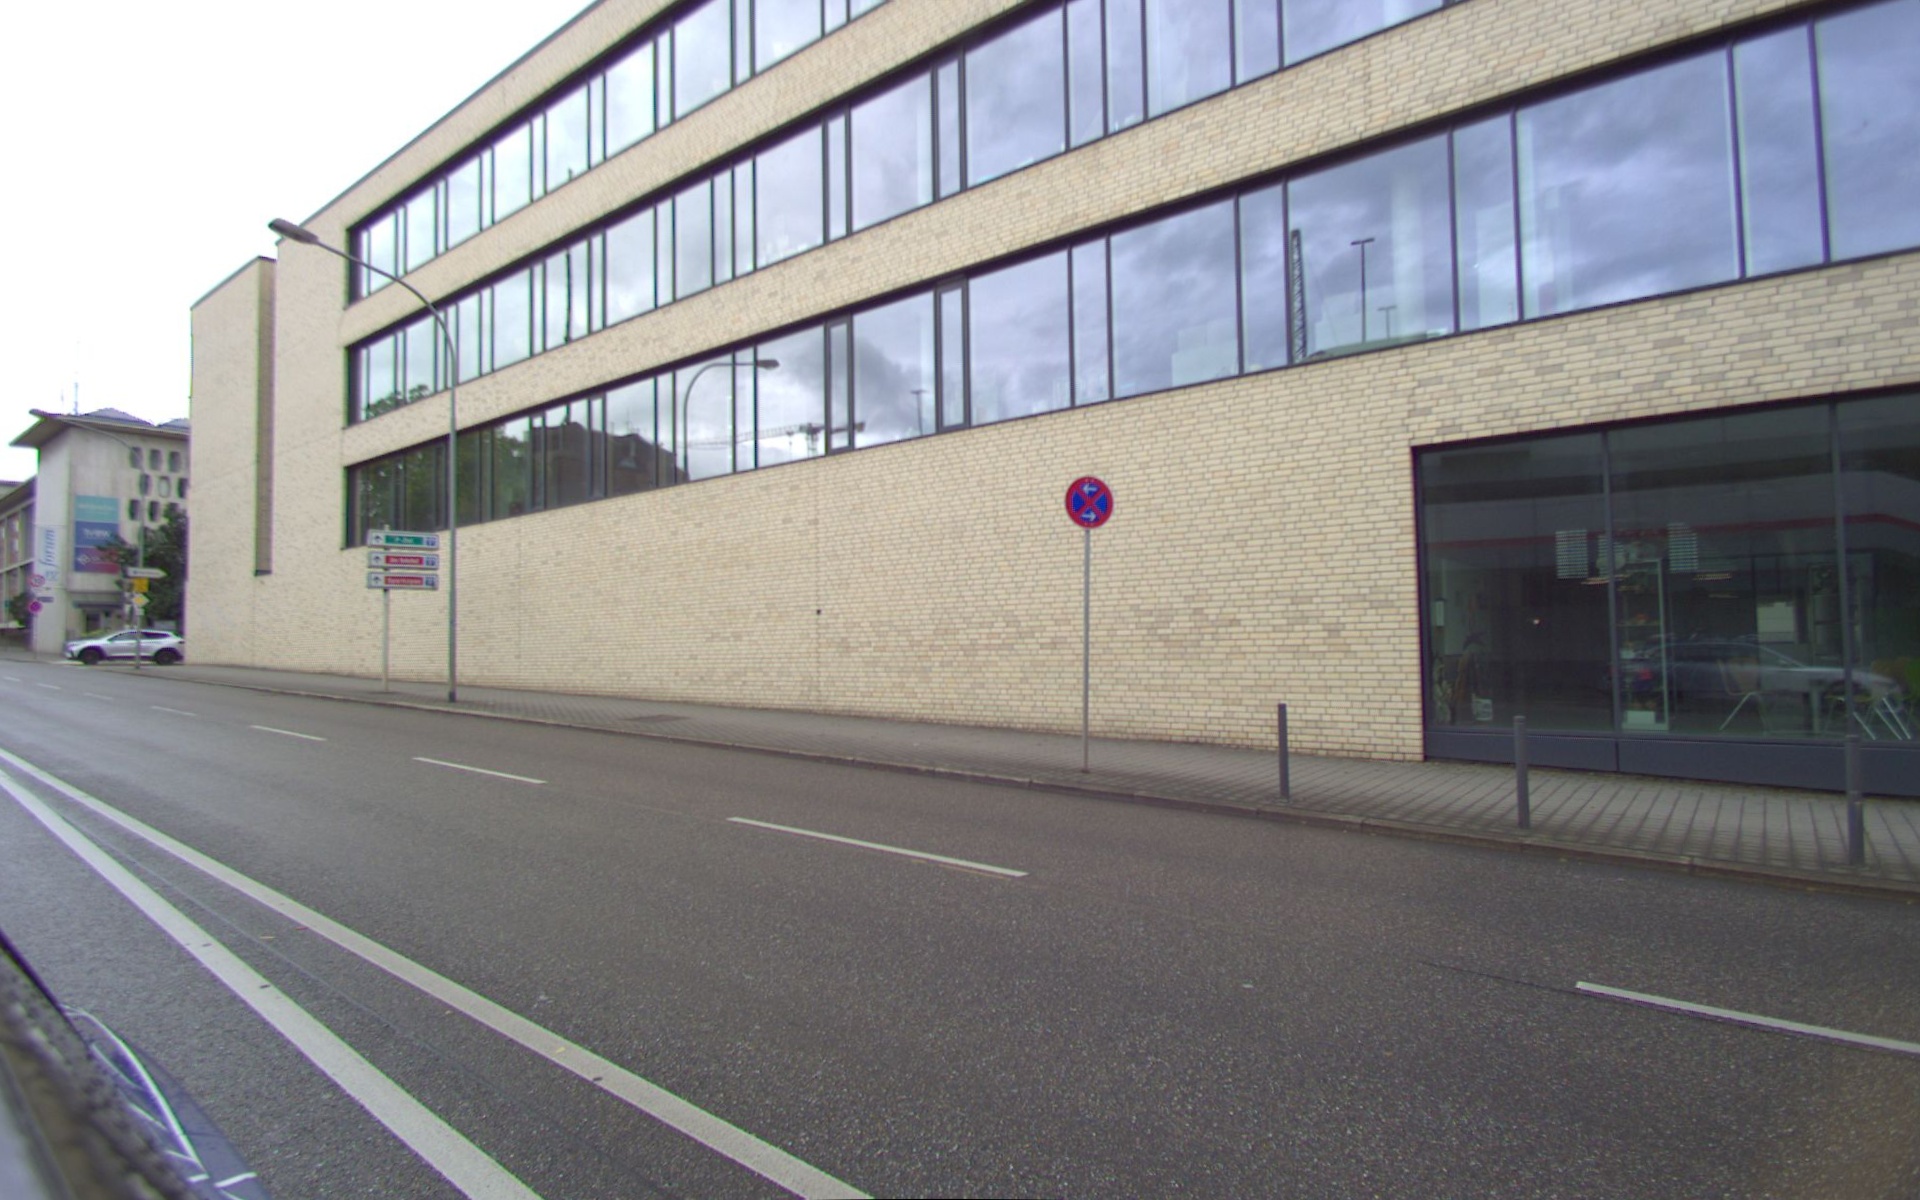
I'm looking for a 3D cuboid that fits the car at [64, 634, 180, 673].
[{"bbox_3d":[-38.042,2.403,46.016,3.992,1.537,1.805,-1,-1,-41],"label":"car"}]
